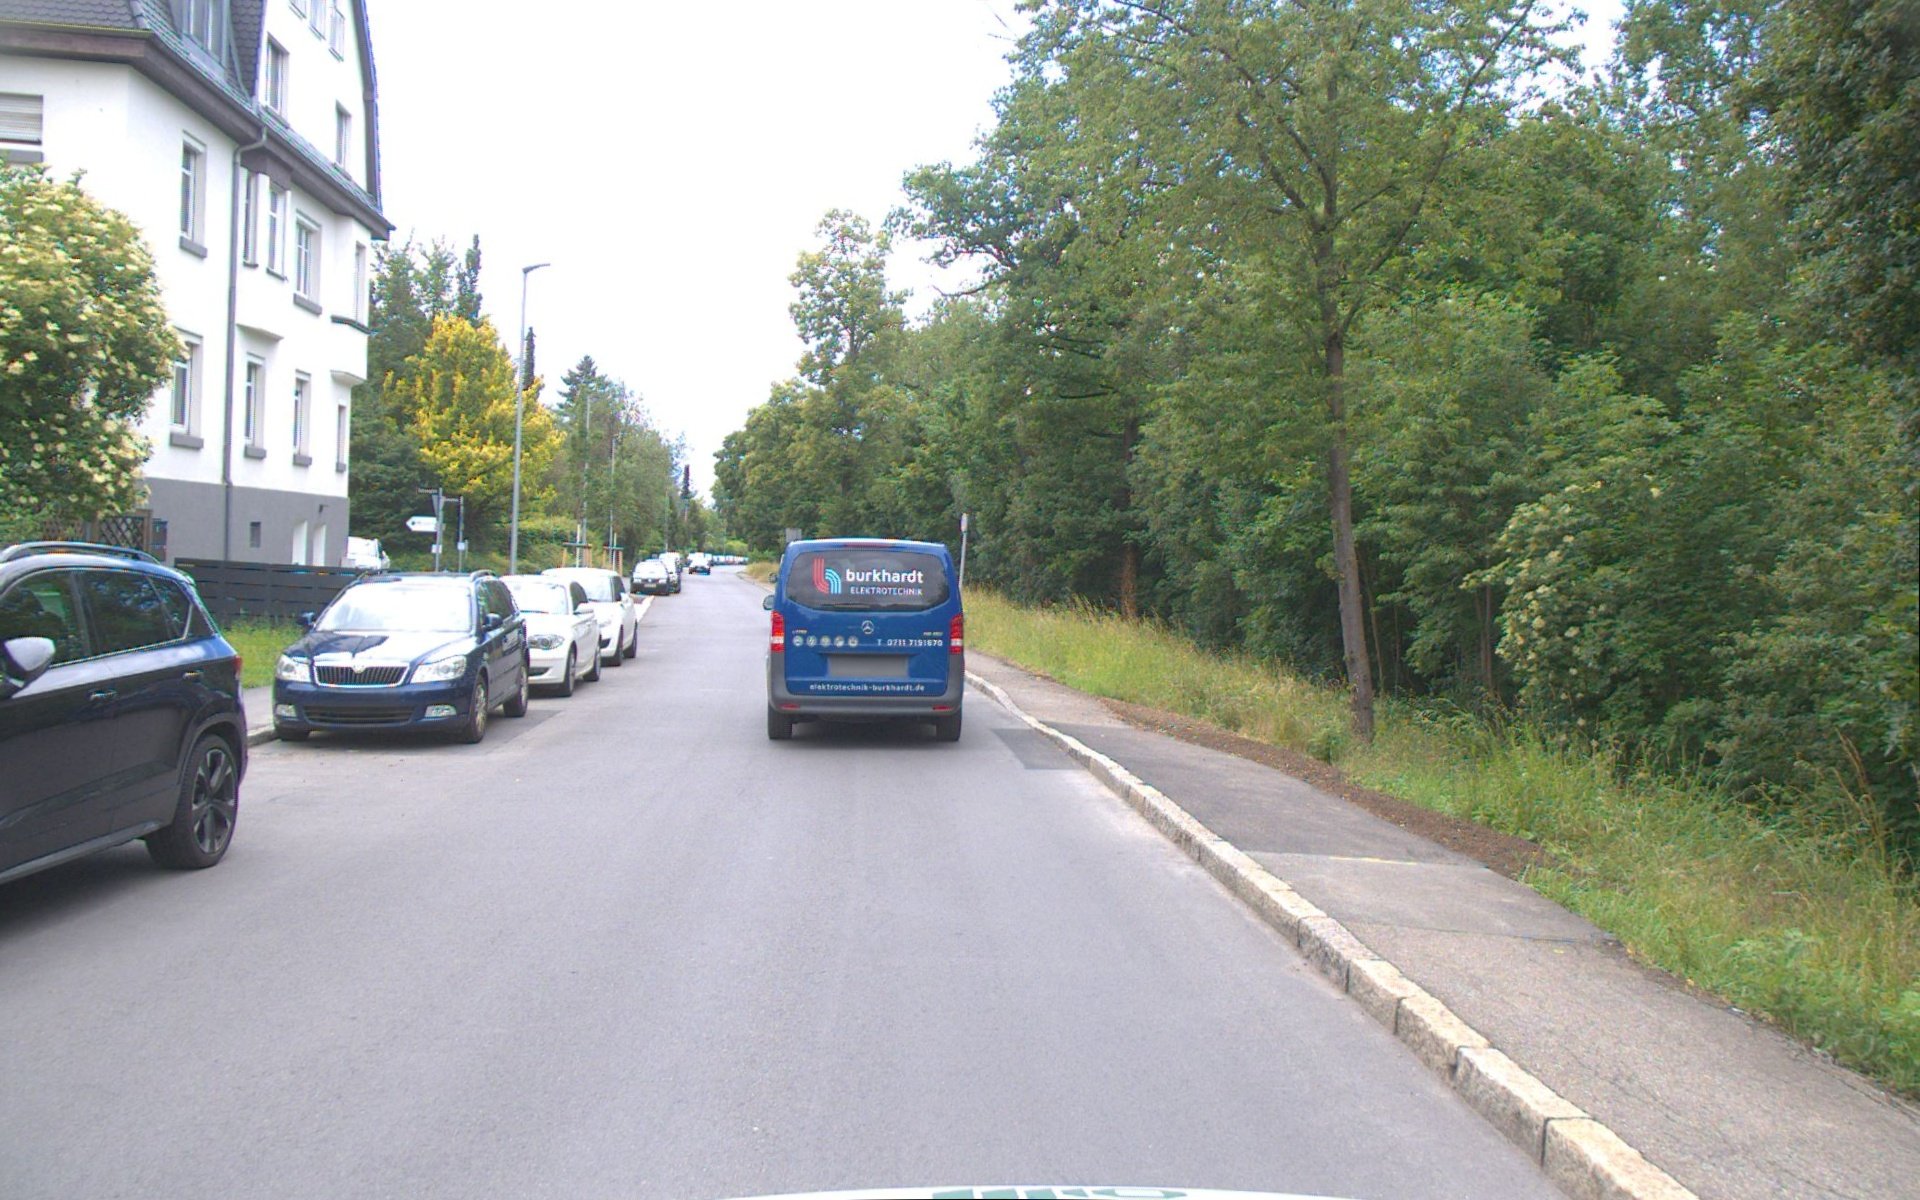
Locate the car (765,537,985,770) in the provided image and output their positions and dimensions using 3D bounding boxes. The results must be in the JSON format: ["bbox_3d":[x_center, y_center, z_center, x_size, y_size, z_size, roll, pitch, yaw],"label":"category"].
[{"bbox_3d":[-0.900,0.390,15.795,1.793,1.911,4.311,1,1,-6],"label":"car"}]

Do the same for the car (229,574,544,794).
[{"bbox_3d":[-5.083,0.638,15.274,1.764,1.683,4.311,1,1,-6],"label":"car"}]

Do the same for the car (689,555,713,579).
[{"bbox_3d":[-23.188,-2.938,148.105,1.957,1.668,3.991,6,-3,-9],"label":"car"}]

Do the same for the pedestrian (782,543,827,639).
[{"bbox_3d":[-3.499,-0.196,37.296,0.758,2.049,0.889,5,-3,-1],"label":"pedestrian"}]

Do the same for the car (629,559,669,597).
[{"bbox_3d":[-13.612,-0.965,72.256,1.595,1.579,3.988,2,1,-12],"label":"car"}]

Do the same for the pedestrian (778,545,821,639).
[{"bbox_3d":[-3.698,-0.169,38.166,0.758,2.049,0.889,5,-3,-1],"label":"pedestrian"}]

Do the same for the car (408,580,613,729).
[{"bbox_3d":[-5.519,0.597,20.798,1.764,1.593,4.311,1,1,-6],"label":"car"}]

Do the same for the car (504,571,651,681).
[{"bbox_3d":[-6.143,0.354,26.980,1.764,1.593,4.311,1,1,-6],"label":"car"}]

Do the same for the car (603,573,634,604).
[{"bbox_3d":[-18.644,-0.652,90.297,1.595,1.579,3.988,2,1,-12],"label":"car"}]

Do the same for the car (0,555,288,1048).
[{"bbox_3d":[-4.447,0.719,6.950,1.736,1.794,4.128,1,1,-3],"label":"car"}]
